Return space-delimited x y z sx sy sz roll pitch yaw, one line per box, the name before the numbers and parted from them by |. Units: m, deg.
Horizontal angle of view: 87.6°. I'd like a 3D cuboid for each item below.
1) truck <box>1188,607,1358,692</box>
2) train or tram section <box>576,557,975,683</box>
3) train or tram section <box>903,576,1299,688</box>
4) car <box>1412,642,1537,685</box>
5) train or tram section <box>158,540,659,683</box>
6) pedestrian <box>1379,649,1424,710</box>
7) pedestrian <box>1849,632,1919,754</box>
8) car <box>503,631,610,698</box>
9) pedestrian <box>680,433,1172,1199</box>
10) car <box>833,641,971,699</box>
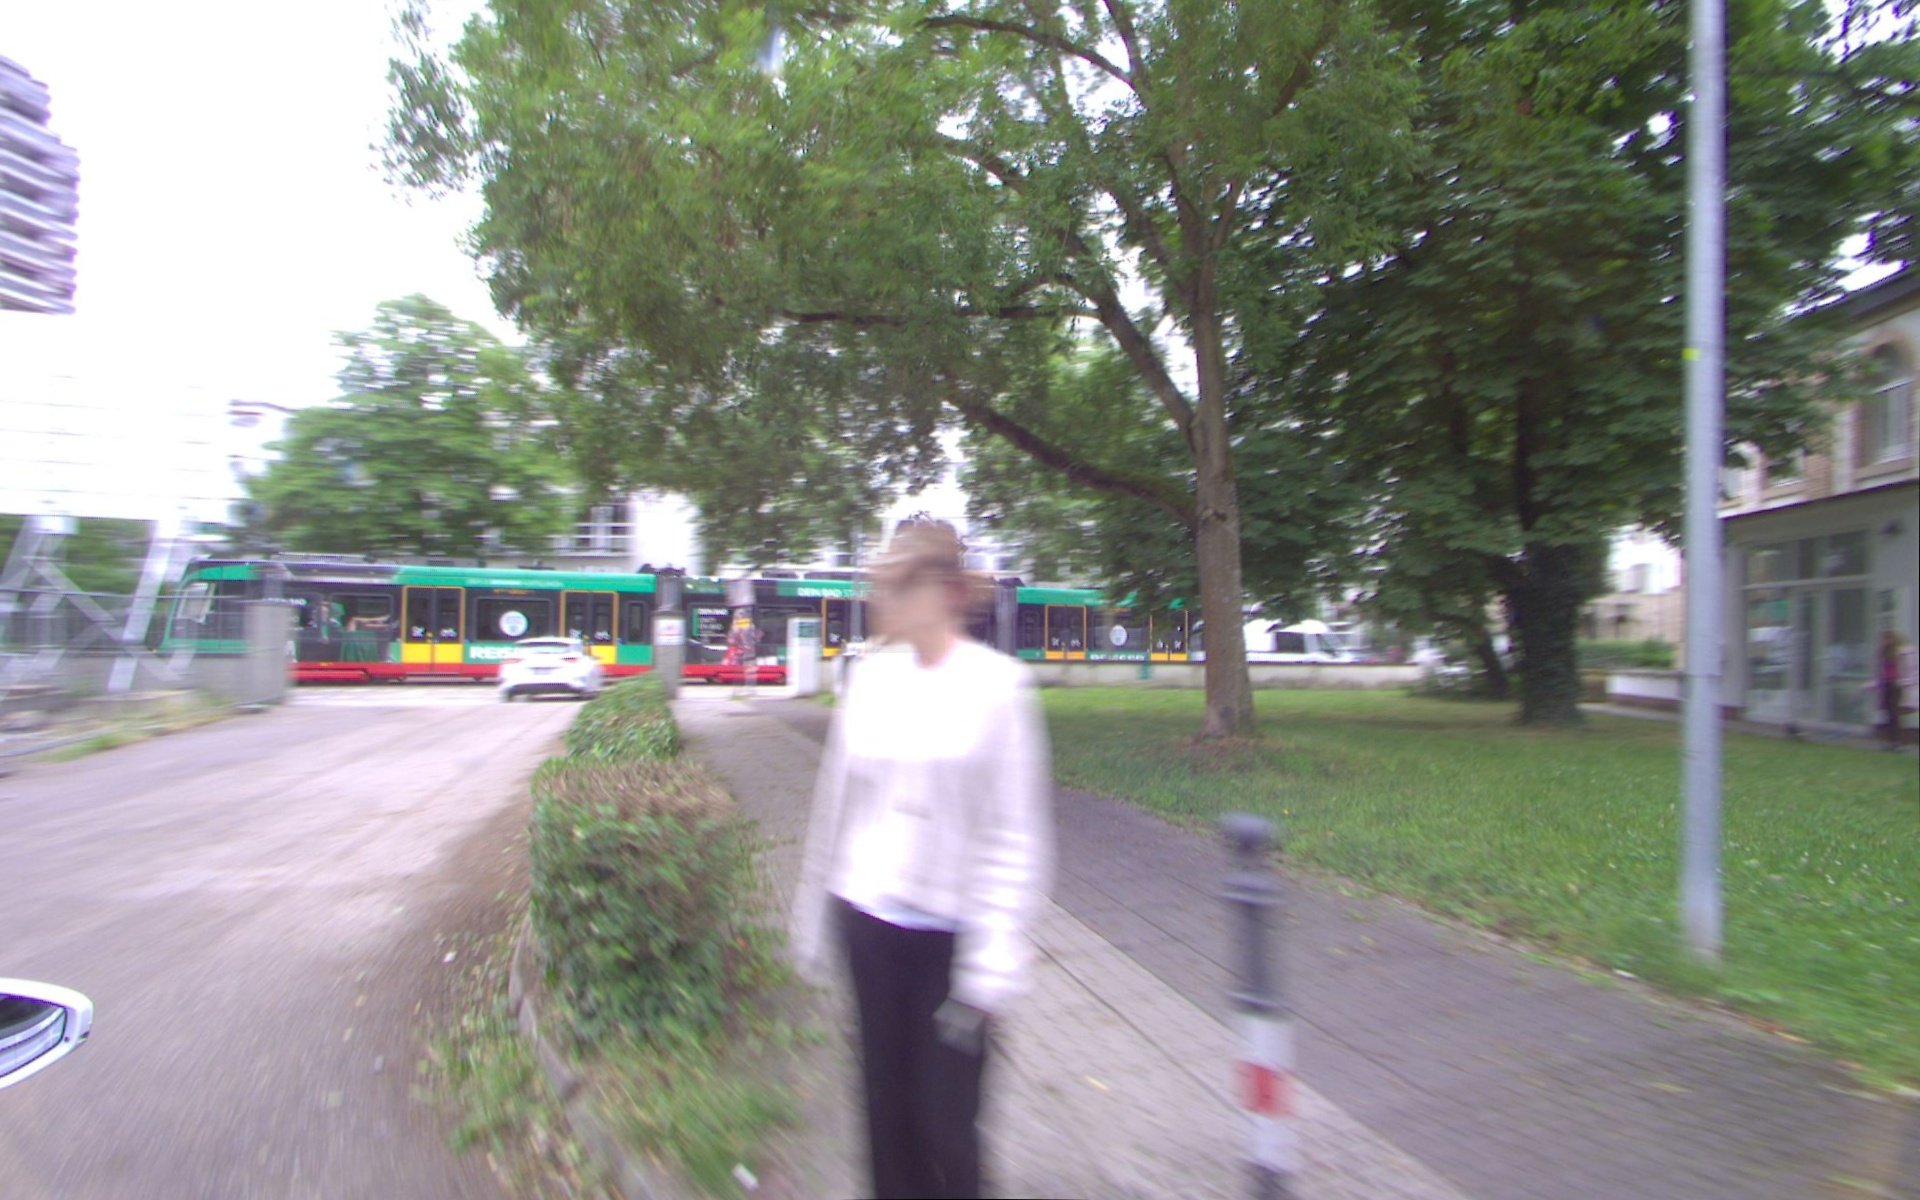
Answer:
truck | 9.997 1.582 31.994 4.843 2.578 2.165 1 -2 -19
train or tram section | -5.724 0.758 32.268 12.244 3.660 2.663 1 -1 -19
train or tram section | 5.302 1.246 36.073 14.517 3.660 2.663 1 -1 -19
car | 17.685 2.175 34.434 3.748 1.371 1.808 2 -2 -21
train or tram section | -15.167 0.471 28.969 12.244 3.660 2.663 1 -1 -19
pedestrian | 13.039 2.334 29.570 0.941 1.740 0.806 2 -1 -25
pedestrian | 12.591 1.242 13.540 0.592 1.607 0.627 1 -1 9
car | -9.477 1.553 23.813 1.749 1.449 3.978 1 -4 -13
pedestrian | -0.068 0.660 2.040 0.744 1.804 0.657 2 -1 -42
car | -1.648 1.953 28.008 3.532 1.519 1.663 2 -2 -18
